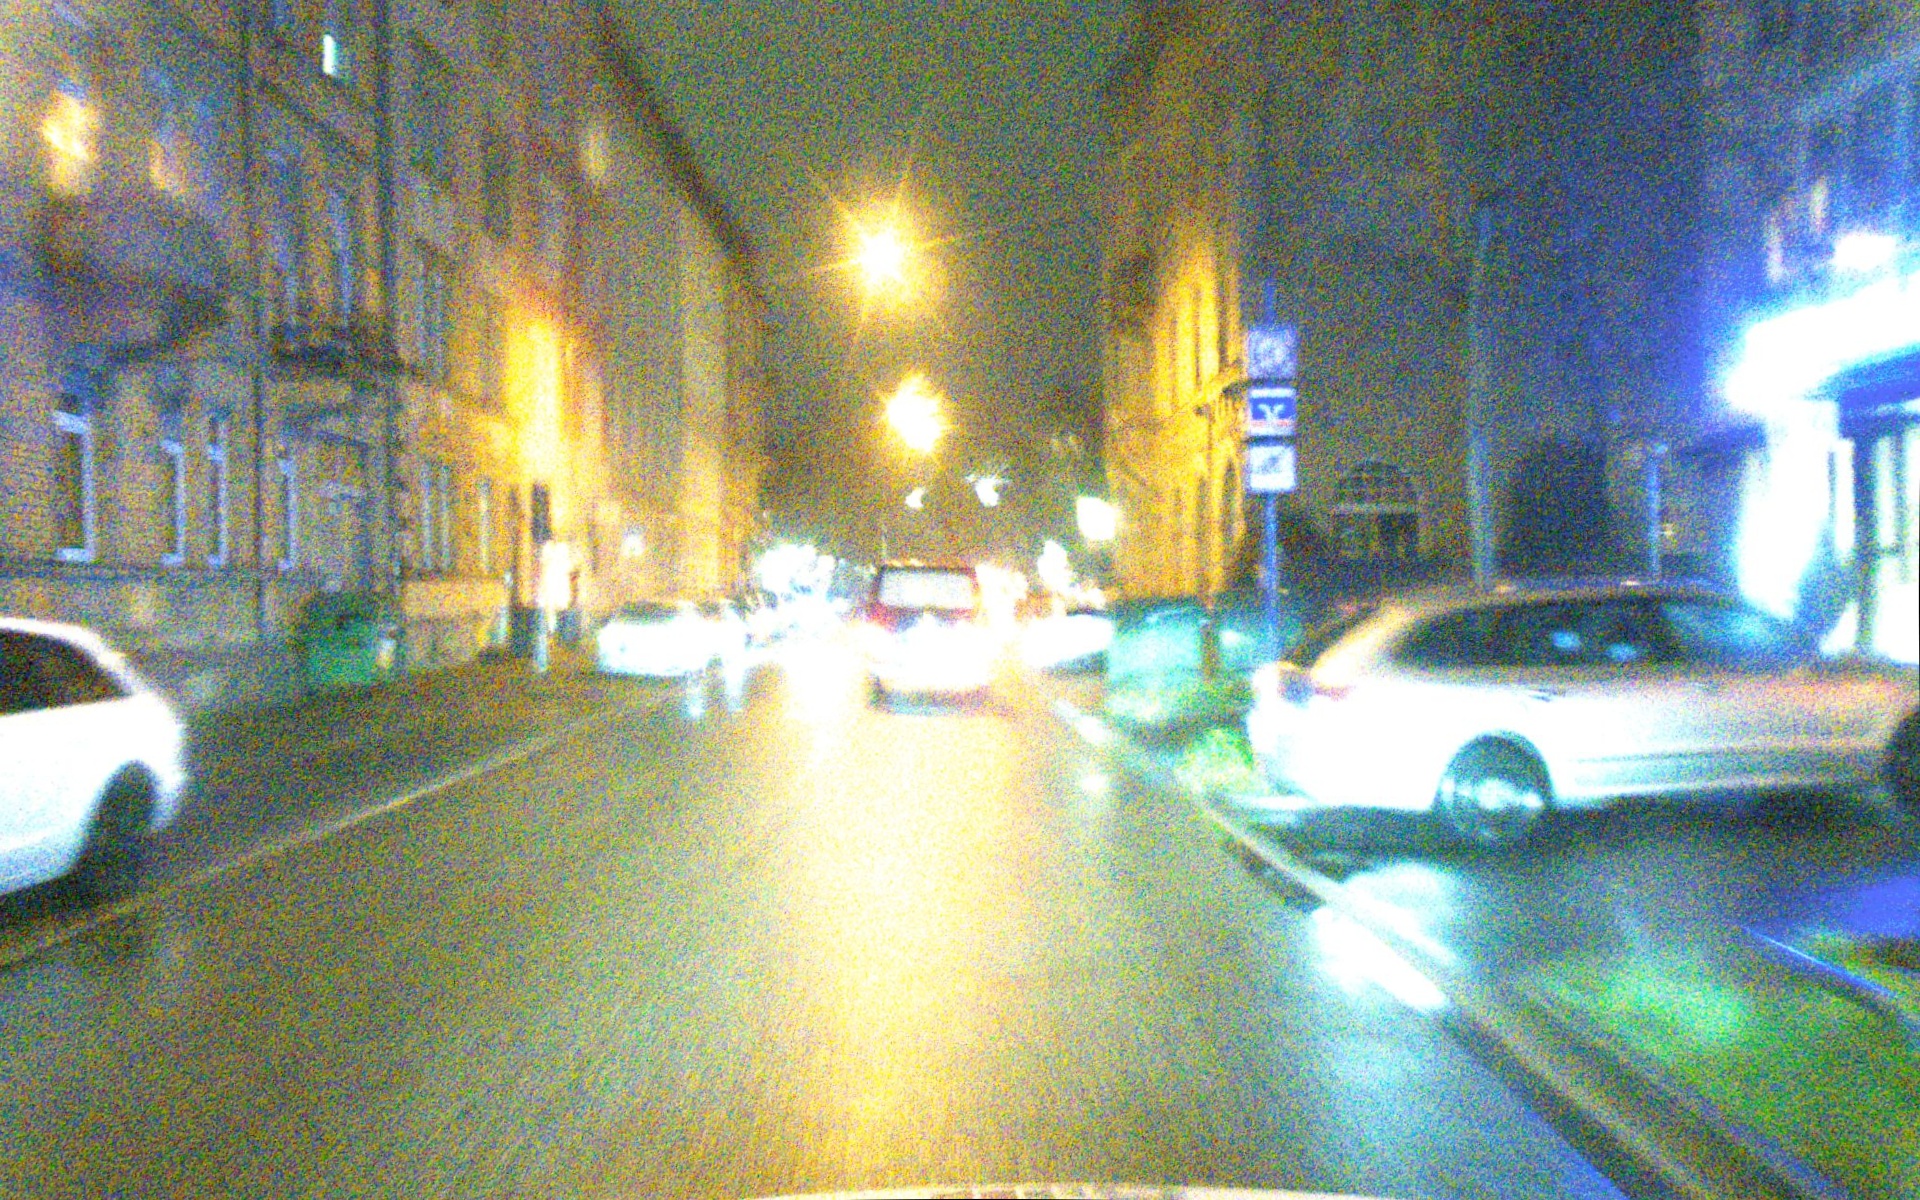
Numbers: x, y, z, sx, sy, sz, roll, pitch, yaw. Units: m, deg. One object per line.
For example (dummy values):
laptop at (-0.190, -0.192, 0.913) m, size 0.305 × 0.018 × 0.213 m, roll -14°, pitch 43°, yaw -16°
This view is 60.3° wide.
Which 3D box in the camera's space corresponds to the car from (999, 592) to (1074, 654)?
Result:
car at (1.968, 0.567, 43.394) m, size 1.655 × 1.524 × 3.890 m, roll -1°, pitch 0°, yaw -2°

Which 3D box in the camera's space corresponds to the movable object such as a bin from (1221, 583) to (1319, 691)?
movable object such as a bin at (4.268, 0.498, 22.883) m, size 1.281 × 1.454 × 1.051 m, roll -1°, pitch 0°, yaw 8°

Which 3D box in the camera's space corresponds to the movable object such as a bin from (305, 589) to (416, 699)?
movable object such as a bin at (-8.431, 0.596, 23.322) m, size 1.079 × 1.479 × 1.378 m, roll -1°, pitch 0°, yaw -3°

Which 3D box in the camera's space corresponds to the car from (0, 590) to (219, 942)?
car at (-5.114, 0.731, 7.026) m, size 1.731 × 1.509 × 4.772 m, roll 3°, pitch 0°, yaw 0°

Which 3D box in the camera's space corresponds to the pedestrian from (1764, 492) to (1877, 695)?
pedestrian at (7.985, -0.067, 15.366) m, size 0.688 × 1.819 × 0.624 m, roll -2°, pitch 1°, yaw 2°

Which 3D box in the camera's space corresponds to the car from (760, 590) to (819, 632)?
car at (-6.384, 0.372, 62.214) m, size 1.795 × 1.512 × 4.593 m, roll 0°, pitch 0°, yaw -1°

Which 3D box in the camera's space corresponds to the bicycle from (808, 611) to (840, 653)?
bicycle at (-3.741, 0.876, 45.677) m, size 0.712 × 1.091 × 2.348 m, roll -1°, pitch 0°, yaw -1°

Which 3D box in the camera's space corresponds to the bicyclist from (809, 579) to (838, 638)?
bicyclist at (-3.766, 0.237, 45.703) m, size 0.704 × 1.583 × 0.895 m, roll -1°, pitch 0°, yaw -1°

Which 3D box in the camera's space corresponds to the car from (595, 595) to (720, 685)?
car at (-5.427, 0.679, 30.092) m, size 1.638 × 1.517 × 3.721 m, roll 1°, pitch 0°, yaw -1°

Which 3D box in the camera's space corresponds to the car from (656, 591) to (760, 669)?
car at (-5.534, 0.623, 36.752) m, size 1.738 × 1.599 × 4.133 m, roll -1°, pitch 0°, yaw -1°

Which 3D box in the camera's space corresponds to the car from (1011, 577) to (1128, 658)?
car at (2.091, 0.316, 32.771) m, size 1.953 × 1.489 × 4.415 m, roll -1°, pitch 0°, yaw -1°

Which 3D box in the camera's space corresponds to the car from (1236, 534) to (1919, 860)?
car at (4.096, 0.506, 10.122) m, size 4.422 × 1.557 × 1.780 m, roll -4°, pitch 0°, yaw -2°

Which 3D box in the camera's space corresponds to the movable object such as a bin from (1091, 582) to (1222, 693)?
movable object such as a bin at (2.688, 0.491, 22.643) m, size 1.327 × 1.454 × 1.185 m, roll -1°, pitch 0°, yaw -37°

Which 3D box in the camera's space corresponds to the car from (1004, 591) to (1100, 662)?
car at (2.057, 0.561, 37.979) m, size 1.656 × 1.524 × 3.887 m, roll -1°, pitch 0°, yaw -5°

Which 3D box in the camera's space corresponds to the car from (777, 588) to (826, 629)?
car at (-6.932, 0.358, 72.659) m, size 1.795 × 1.747 × 4.593 m, roll 0°, pitch 0°, yaw -1°

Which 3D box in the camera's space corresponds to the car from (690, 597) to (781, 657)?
car at (-5.694, 0.654, 42.445) m, size 1.785 × 1.414 × 4.424 m, roll -1°, pitch 0°, yaw -1°

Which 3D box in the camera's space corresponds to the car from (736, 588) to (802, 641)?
car at (-6.055, 0.441, 52.688) m, size 1.710 × 1.616 × 3.765 m, roll 0°, pitch 0°, yaw -1°

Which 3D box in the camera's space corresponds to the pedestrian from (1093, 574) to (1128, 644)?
pedestrian at (4.059, 0.234, 44.684) m, size 0.844 × 1.819 × 1.083 m, roll -2°, pitch 1°, yaw 2°

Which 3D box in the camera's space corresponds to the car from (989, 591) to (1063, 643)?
car at (1.910, 0.466, 48.685) m, size 1.879 × 1.436 × 3.999 m, roll -1°, pitch 0°, yaw -2°

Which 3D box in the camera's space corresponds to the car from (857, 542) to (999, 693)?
car at (-0.463, 0.224, 25.266) m, size 1.955 × 2.084 × 4.693 m, roll 0°, pitch 0°, yaw -1°
